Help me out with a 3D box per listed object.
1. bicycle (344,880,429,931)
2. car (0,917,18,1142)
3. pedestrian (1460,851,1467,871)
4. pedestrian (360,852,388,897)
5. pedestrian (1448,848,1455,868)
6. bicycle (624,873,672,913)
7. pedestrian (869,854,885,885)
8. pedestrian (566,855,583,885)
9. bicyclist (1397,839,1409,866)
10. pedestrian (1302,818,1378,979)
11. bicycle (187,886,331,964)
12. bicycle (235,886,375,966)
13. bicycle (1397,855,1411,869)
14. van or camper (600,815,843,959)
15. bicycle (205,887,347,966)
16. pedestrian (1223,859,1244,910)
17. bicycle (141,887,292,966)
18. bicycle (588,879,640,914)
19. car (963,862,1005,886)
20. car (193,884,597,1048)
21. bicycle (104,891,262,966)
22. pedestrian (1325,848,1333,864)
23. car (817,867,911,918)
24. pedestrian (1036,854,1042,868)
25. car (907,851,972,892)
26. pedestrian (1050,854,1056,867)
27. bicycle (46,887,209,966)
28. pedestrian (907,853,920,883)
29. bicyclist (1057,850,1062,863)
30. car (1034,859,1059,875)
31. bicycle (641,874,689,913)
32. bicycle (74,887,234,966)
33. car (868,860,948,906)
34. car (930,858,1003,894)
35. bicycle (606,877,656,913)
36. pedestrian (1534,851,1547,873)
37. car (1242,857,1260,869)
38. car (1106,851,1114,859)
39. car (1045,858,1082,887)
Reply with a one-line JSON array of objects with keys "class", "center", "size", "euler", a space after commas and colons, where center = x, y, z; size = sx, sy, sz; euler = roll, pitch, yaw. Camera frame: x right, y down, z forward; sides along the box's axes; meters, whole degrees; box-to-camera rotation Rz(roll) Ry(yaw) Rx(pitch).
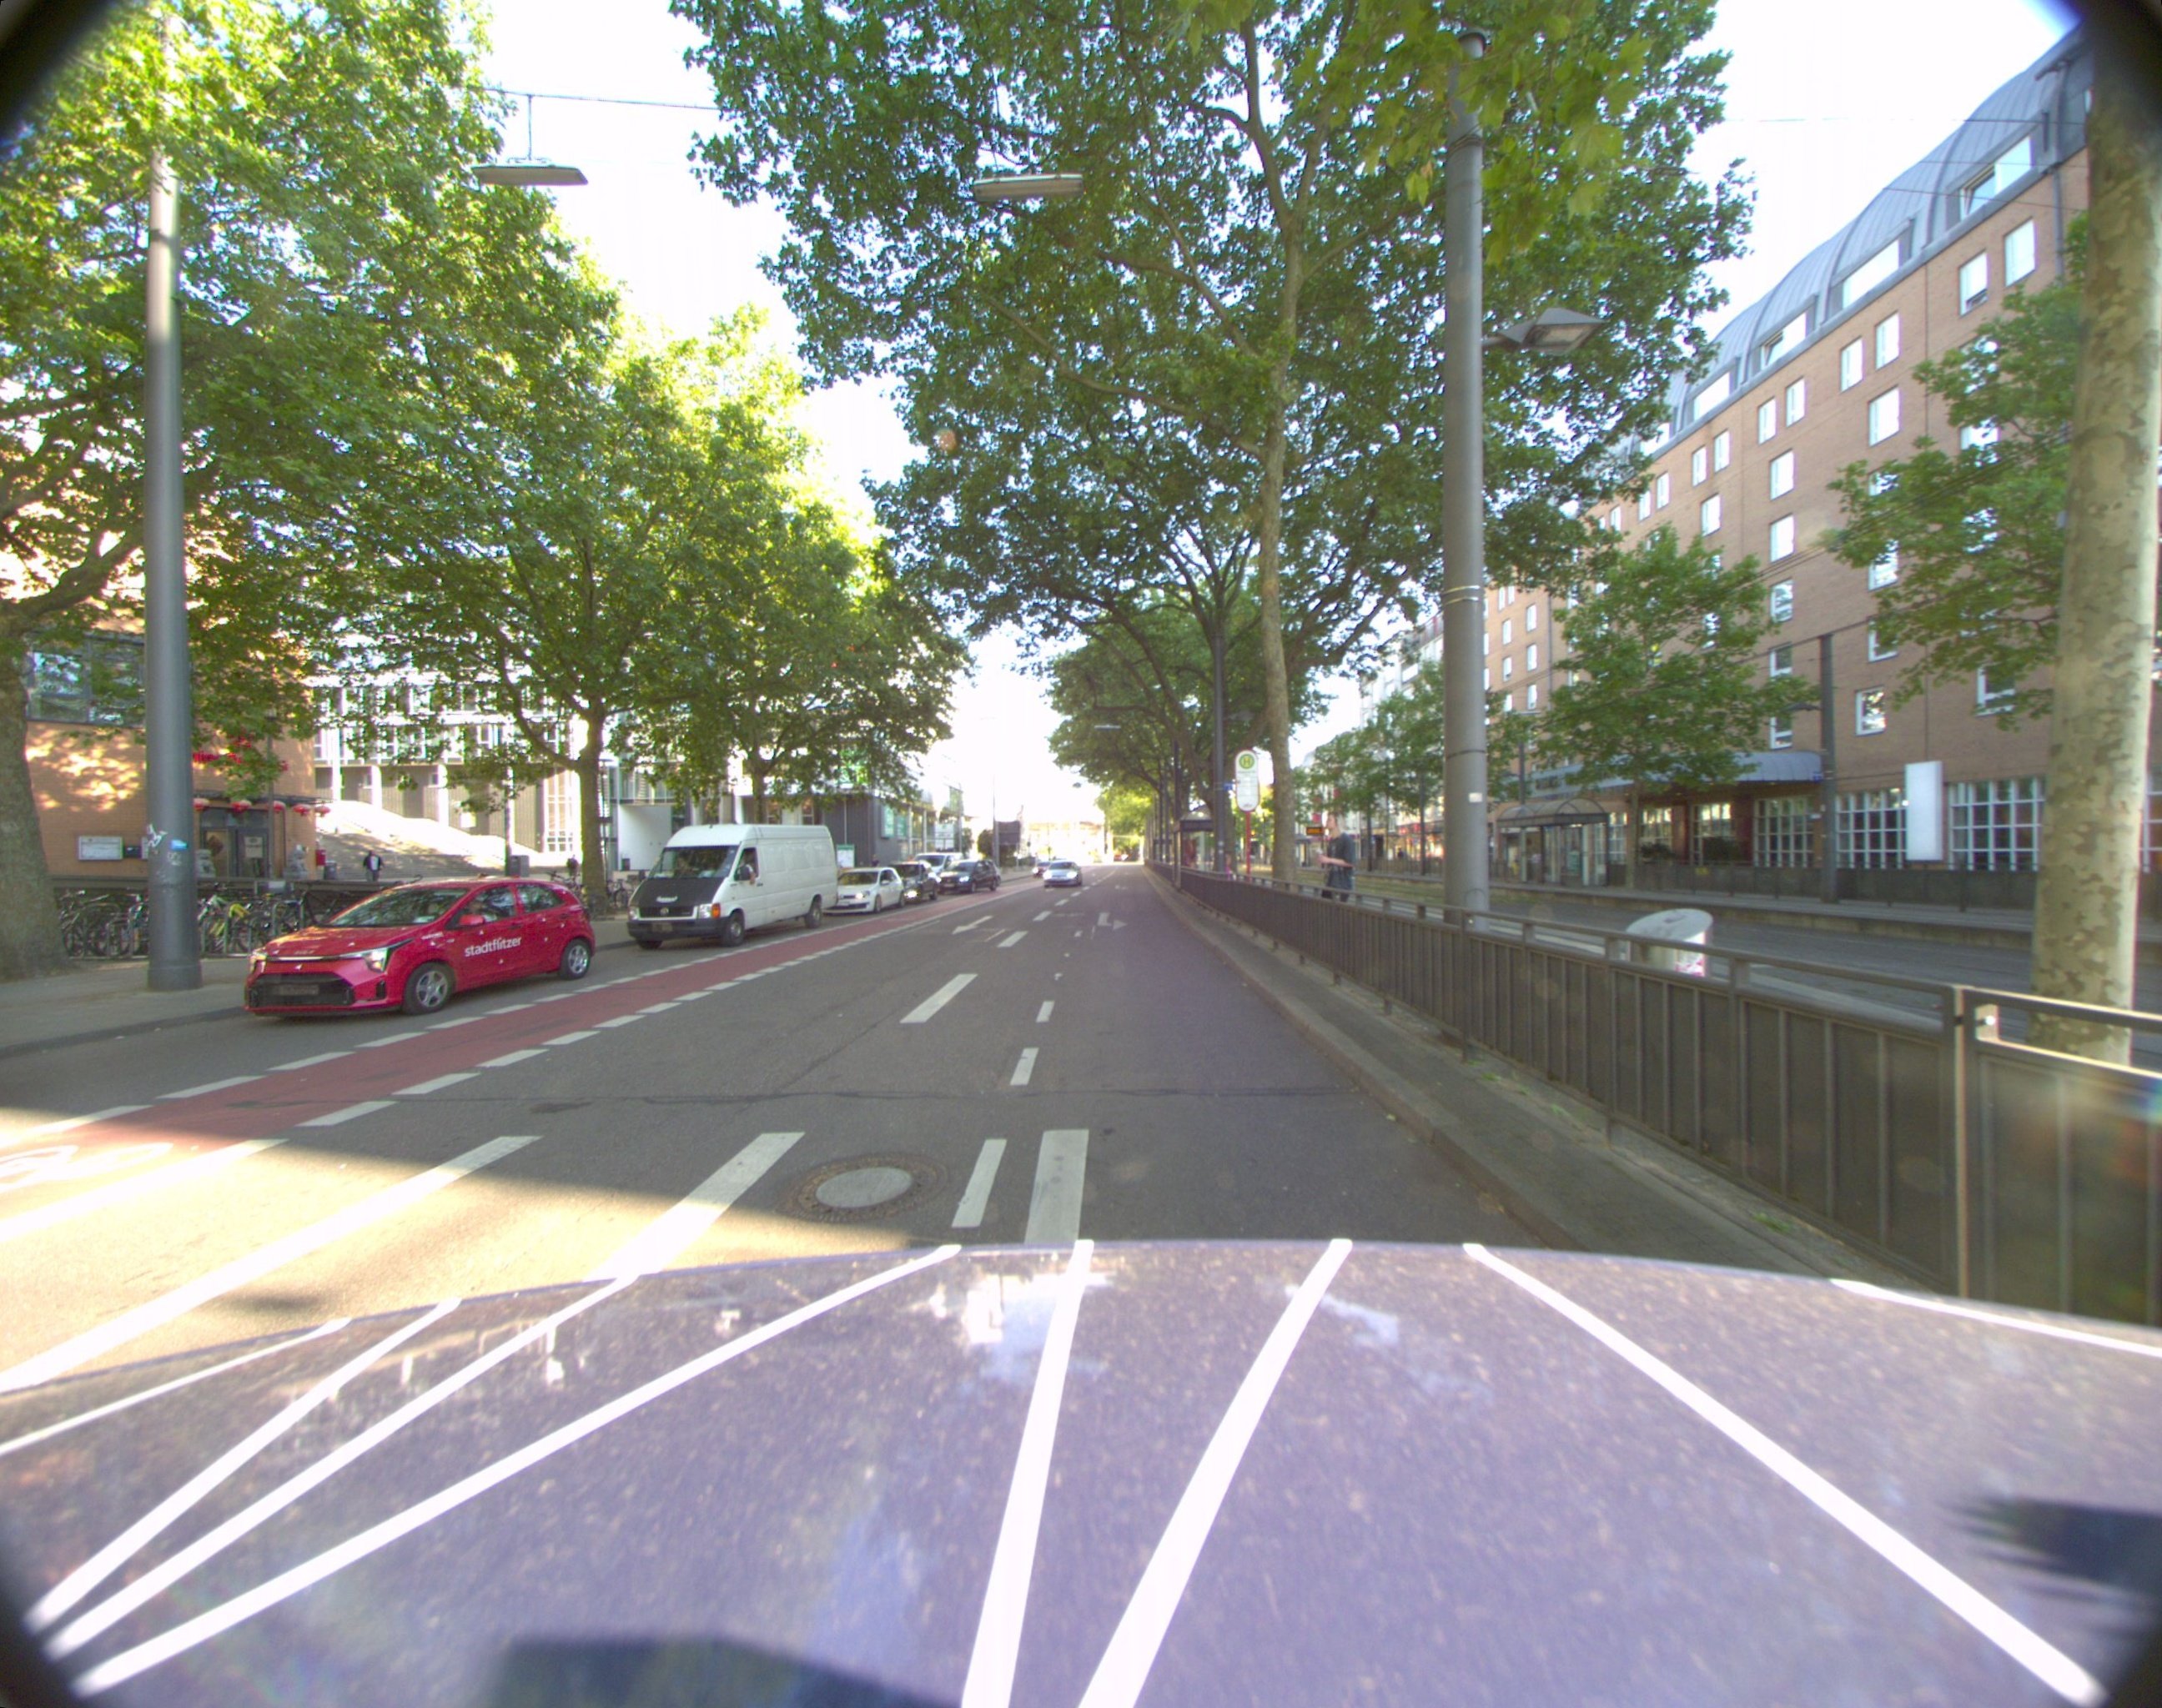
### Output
[{"class": "bicycle", "center": [-17.860, 1.290, 19.591], "size": [0.517, 1.187, 1.790], "euler": [0, 0, 1]}, {"class": "car", "center": [-7.987, 1.168, 2.935], "size": [1.743, 1.476, 4.251], "euler": [-1, 0, 0]}, {"class": "pedestrian", "center": [29.485, 0.550, 58.560], "size": [0.438, 1.511, 0.659], "euler": [0, 1, 23]}, {"class": "pedestrian", "center": [-31.918, 0.908, 34.295], "size": [0.878, 2.025, 0.584], "euler": [-1, 1, -43]}, {"class": "pedestrian", "center": [28.748, 0.303, 58.946], "size": [0.438, 1.497, 0.659], "euler": [0, 1, 23]}, {"class": "bicycle", "center": [-14.116, 1.253, 24.819], "size": [0.495, 1.187, 1.850], "euler": [0, 0, 1]}, {"class": "pedestrian", "center": [-11.759, 0.879, 43.830], "size": [0.715, 1.758, 0.526], "euler": [-1, 1, 2]}, {"class": "pedestrian", "center": [-26.686, 0.835, 40.021], "size": [0.719, 1.549, 0.639], "euler": [-1, 1, -35]}, {"class": "bicyclist", "center": [23.367, -0.106, 55.133], "size": [0.572, 1.893, 0.813], "euler": [0, 1, 6]}, {"class": "pedestrian", "center": [3.159, 0.511, 9.276], "size": [0.624, 1.873, 0.605], "euler": [-3, 3, -31]}, {"class": "bicycle", "center": [-14.327, 1.204, 13.324], "size": [0.484, 1.187, 1.850], "euler": [0, 0, 1]}, {"class": "bicycle", "center": [-13.318, 1.197, 13.127], "size": [0.482, 1.187, 1.850], "euler": [0, 0, 1]}, {"class": "bicycle", "center": [23.404, 0.568, 55.039], "size": [0.451, 0.998, 1.753], "euler": [0, 0, 6]}, {"class": "van or camper", "center": [-7.554, 0.599, 17.056], "size": [1.998, 2.563, 6.575], "euler": [-2, 0, 3]}, {"class": "bicycle", "center": [-13.821, 1.208, 13.133], "size": [0.448, 1.187, 1.850], "euler": [0, 0, 1]}, {"class": "pedestrian", "center": [3.931, 0.783, 19.622], "size": [0.500, 1.308, 0.419], "euler": [0, 1, 8]}, {"class": "bicycle", "center": [-14.843, 1.203, 13.124], "size": [0.447, 1.187, 1.850], "euler": [0, 0, 1]}, {"class": "bicycle", "center": [-15.221, 1.369, 24.793], "size": [0.516, 1.027, 1.850], "euler": [0, 0, 1]}, {"class": "car", "center": [-5.879, 1.181, 46.496], "size": [1.801, 1.369, 4.001], "euler": [0, 0, 3]}, {"class": "car", "center": [-7.960, 1.182, 9.353], "size": [1.606, 1.449, 3.651], "euler": [-1, 0, 0]}, {"class": "bicycle", "center": [-15.426, 1.240, 13.132], "size": [0.485, 1.118, 1.850], "euler": [0, 0, 1]}, {"class": "pedestrian", "center": [31.505, 0.295, 96.500], "size": [0.806, 2.002, 0.763], "euler": [-1, 1, 1]}, {"class": "car", "center": [-6.999, 1.191, 24.903], "size": [1.682, 1.420, 4.001], "euler": [-1, 0, 3]}, {"class": "pedestrian", "center": [-5.269, 0.870, 95.218], "size": [0.611, 1.644, 0.583], "euler": [-1, 1, 1]}, {"class": "car", "center": [-7.468, 0.868, 40.582], "size": [1.965, 1.983, 4.960], "euler": [-1, 0, 7]}, {"class": "pedestrian", "center": [-3.588, 0.783, 97.405], "size": [0.648, 1.644, 0.643], "euler": [-1, 1, 1]}, {"class": "bicycle", "center": [-16.388, 1.201, 13.137], "size": [0.435, 1.187, 1.850], "euler": [0, 0, 1]}, {"class": "pedestrian", "center": [-9.906, 0.797, 44.838], "size": [0.627, 1.758, 0.451], "euler": [-1, 1, 2]}, {"class": "bicyclist", "center": [-2.955, 0.333, 104.494], "size": [0.673, 1.707, 0.715], "euler": [-1, 1, 1]}, {"class": "car", "center": [-2.994, 1.133, 67.054], "size": [1.801, 1.369, 4.001], "euler": [0, 0, 3]}, {"class": "bicycle", "center": [-13.572, 1.273, 24.840], "size": [0.522, 1.187, 1.850], "euler": [0, 0, 1]}, {"class": "bicycle", "center": [-15.925, 1.207, 13.134], "size": [0.458, 1.187, 1.850], "euler": [0, 0, 1]}, {"class": "car", "center": [-6.707, 1.089, 29.901], "size": [1.818, 1.610, 4.229], "euler": [-1, 0, 5]}, {"class": "car", "center": [-5.491, 1.020, 37.055], "size": [1.964, 1.610, 4.335], "euler": [-1, 0, 14]}, {"class": "bicycle", "center": [-14.660, 1.320, 24.817], "size": [0.522, 1.088, 1.797], "euler": [0, 0, 1]}, {"class": "pedestrian", "center": [30.236, 0.551, 50.014], "size": [0.519, 1.427, 0.516], "euler": [0, 1, 4]}, {"class": "car", "center": [26.525, 1.413, 118.817], "size": [1.998, 1.849, 4.000], "euler": [-1, 0, 1]}, {"class": "car", "center": [7.801, 0.313, 204.687], "size": [1.998, 2.002, 4.001], "euler": [-1, 0, 4]}, {"class": "car", "center": [-0.899, 0.959, 41.641], "size": [1.733, 1.432, 4.000], "euler": [-2, 0, 2]}]
